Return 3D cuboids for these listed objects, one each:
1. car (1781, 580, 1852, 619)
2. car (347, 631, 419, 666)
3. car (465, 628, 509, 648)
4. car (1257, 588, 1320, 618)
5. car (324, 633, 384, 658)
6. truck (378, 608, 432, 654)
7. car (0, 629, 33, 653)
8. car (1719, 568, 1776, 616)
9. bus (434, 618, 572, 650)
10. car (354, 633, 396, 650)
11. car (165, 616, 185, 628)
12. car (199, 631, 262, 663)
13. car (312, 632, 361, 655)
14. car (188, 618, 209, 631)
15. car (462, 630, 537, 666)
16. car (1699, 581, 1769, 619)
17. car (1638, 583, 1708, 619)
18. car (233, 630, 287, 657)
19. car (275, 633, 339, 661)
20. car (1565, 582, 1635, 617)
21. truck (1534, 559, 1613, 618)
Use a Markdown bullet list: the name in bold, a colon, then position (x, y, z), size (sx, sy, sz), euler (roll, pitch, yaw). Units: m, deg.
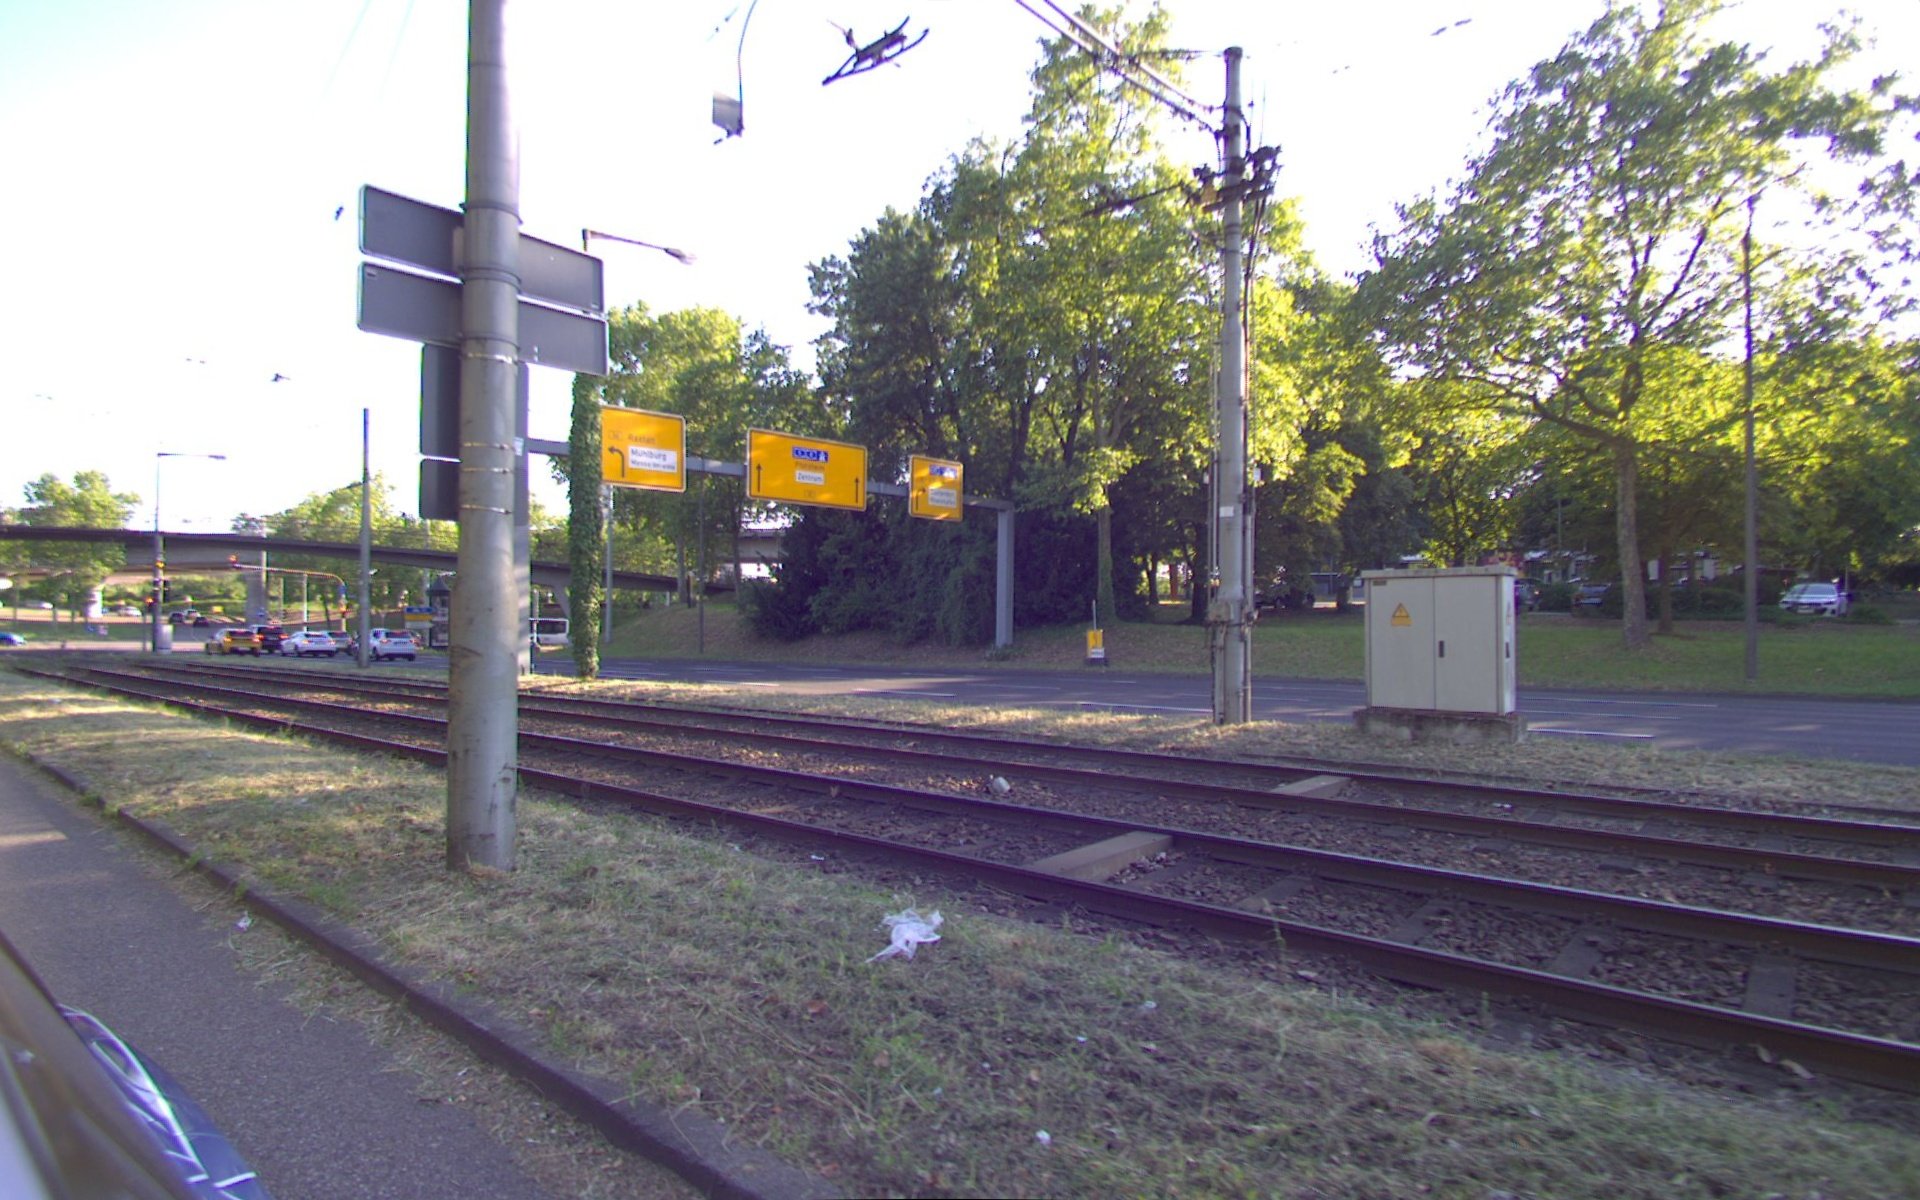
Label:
- **car**: position (34.761, -0.027, 41.035), size (1.942, 1.521, 4.039), euler (-1, 0, 44)
- **car**: position (-27.507, 2.298, 48.216), size (3.997, 1.556, 1.744), euler (-2, -2, 40)
- **car**: position (-46.995, 3.782, 100.534), size (3.748, 1.872, 1.682), euler (-1, 0, -30)
- **car**: position (18.545, 0.159, 57.095), size (1.791, 1.657, 3.942), euler (-2, -1, 44)
- **car**: position (-36.680, 2.744, 61.218), size (4.223, 1.435, 1.845), euler (-2, -2, 40)
- **truck**: position (-37.179, 2.085, 67.716), size (2.248, 2.901, 6.895), euler (0, -2, -37)
- **car**: position (-65.331, 2.789, 67.634), size (4.727, 1.584, 1.944), euler (-1, -1, -33)
- **car**: position (40.050, -0.405, 51.449), size (2.161, 2.321, 4.348), euler (-1, 0, 39)
- **bus**: position (-47.356, 3.474, 105.284), size (12.965, 2.884, 2.425), euler (-1, -1, -25)
- **car**: position (-58.054, 4.113, 100.459), size (3.592, 1.523, 1.668), euler (-1, 0, -28)
- **car**: position (-110.360, 3.026, 142.244), size (1.806, 1.630, 3.986), euler (-1, 0, -43)
- **car**: position (-37.629, 2.404, 52.201), size (3.997, 1.556, 1.744), euler (-2, -2, 40)
- **car**: position (-40.898, 2.852, 66.358), size (1.891, 1.435, 4.229), euler (0, -2, -45)
- **car**: position (-100.269, 3.212, 133.196), size (1.806, 1.630, 3.986), euler (-1, 0, -43)
- **car**: position (-21.598, 2.211, 47.372), size (4.000, 1.556, 1.789), euler (-2, -2, 43)
- **car**: position (33.227, -0.007, 43.406), size (1.942, 1.521, 4.039), euler (-1, 0, 44)
- **car**: position (31.613, 0.014, 44.838), size (1.942, 1.521, 4.039), euler (-1, 0, 44)
- **car**: position (-42.345, 2.582, 61.168), size (4.228, 1.561, 1.892), euler (-2, -2, 44)
- **car**: position (-35.804, 2.566, 55.459), size (4.225, 1.435, 1.893), euler (-2, -2, 42)
- **car**: position (29.352, -0.031, 46.359), size (1.942, 1.521, 4.039), euler (-1, 0, 44)
- **truck**: position (34.888, -0.649, 57.479), size (2.502, 3.191, 6.137), euler (-1, 0, 44)
